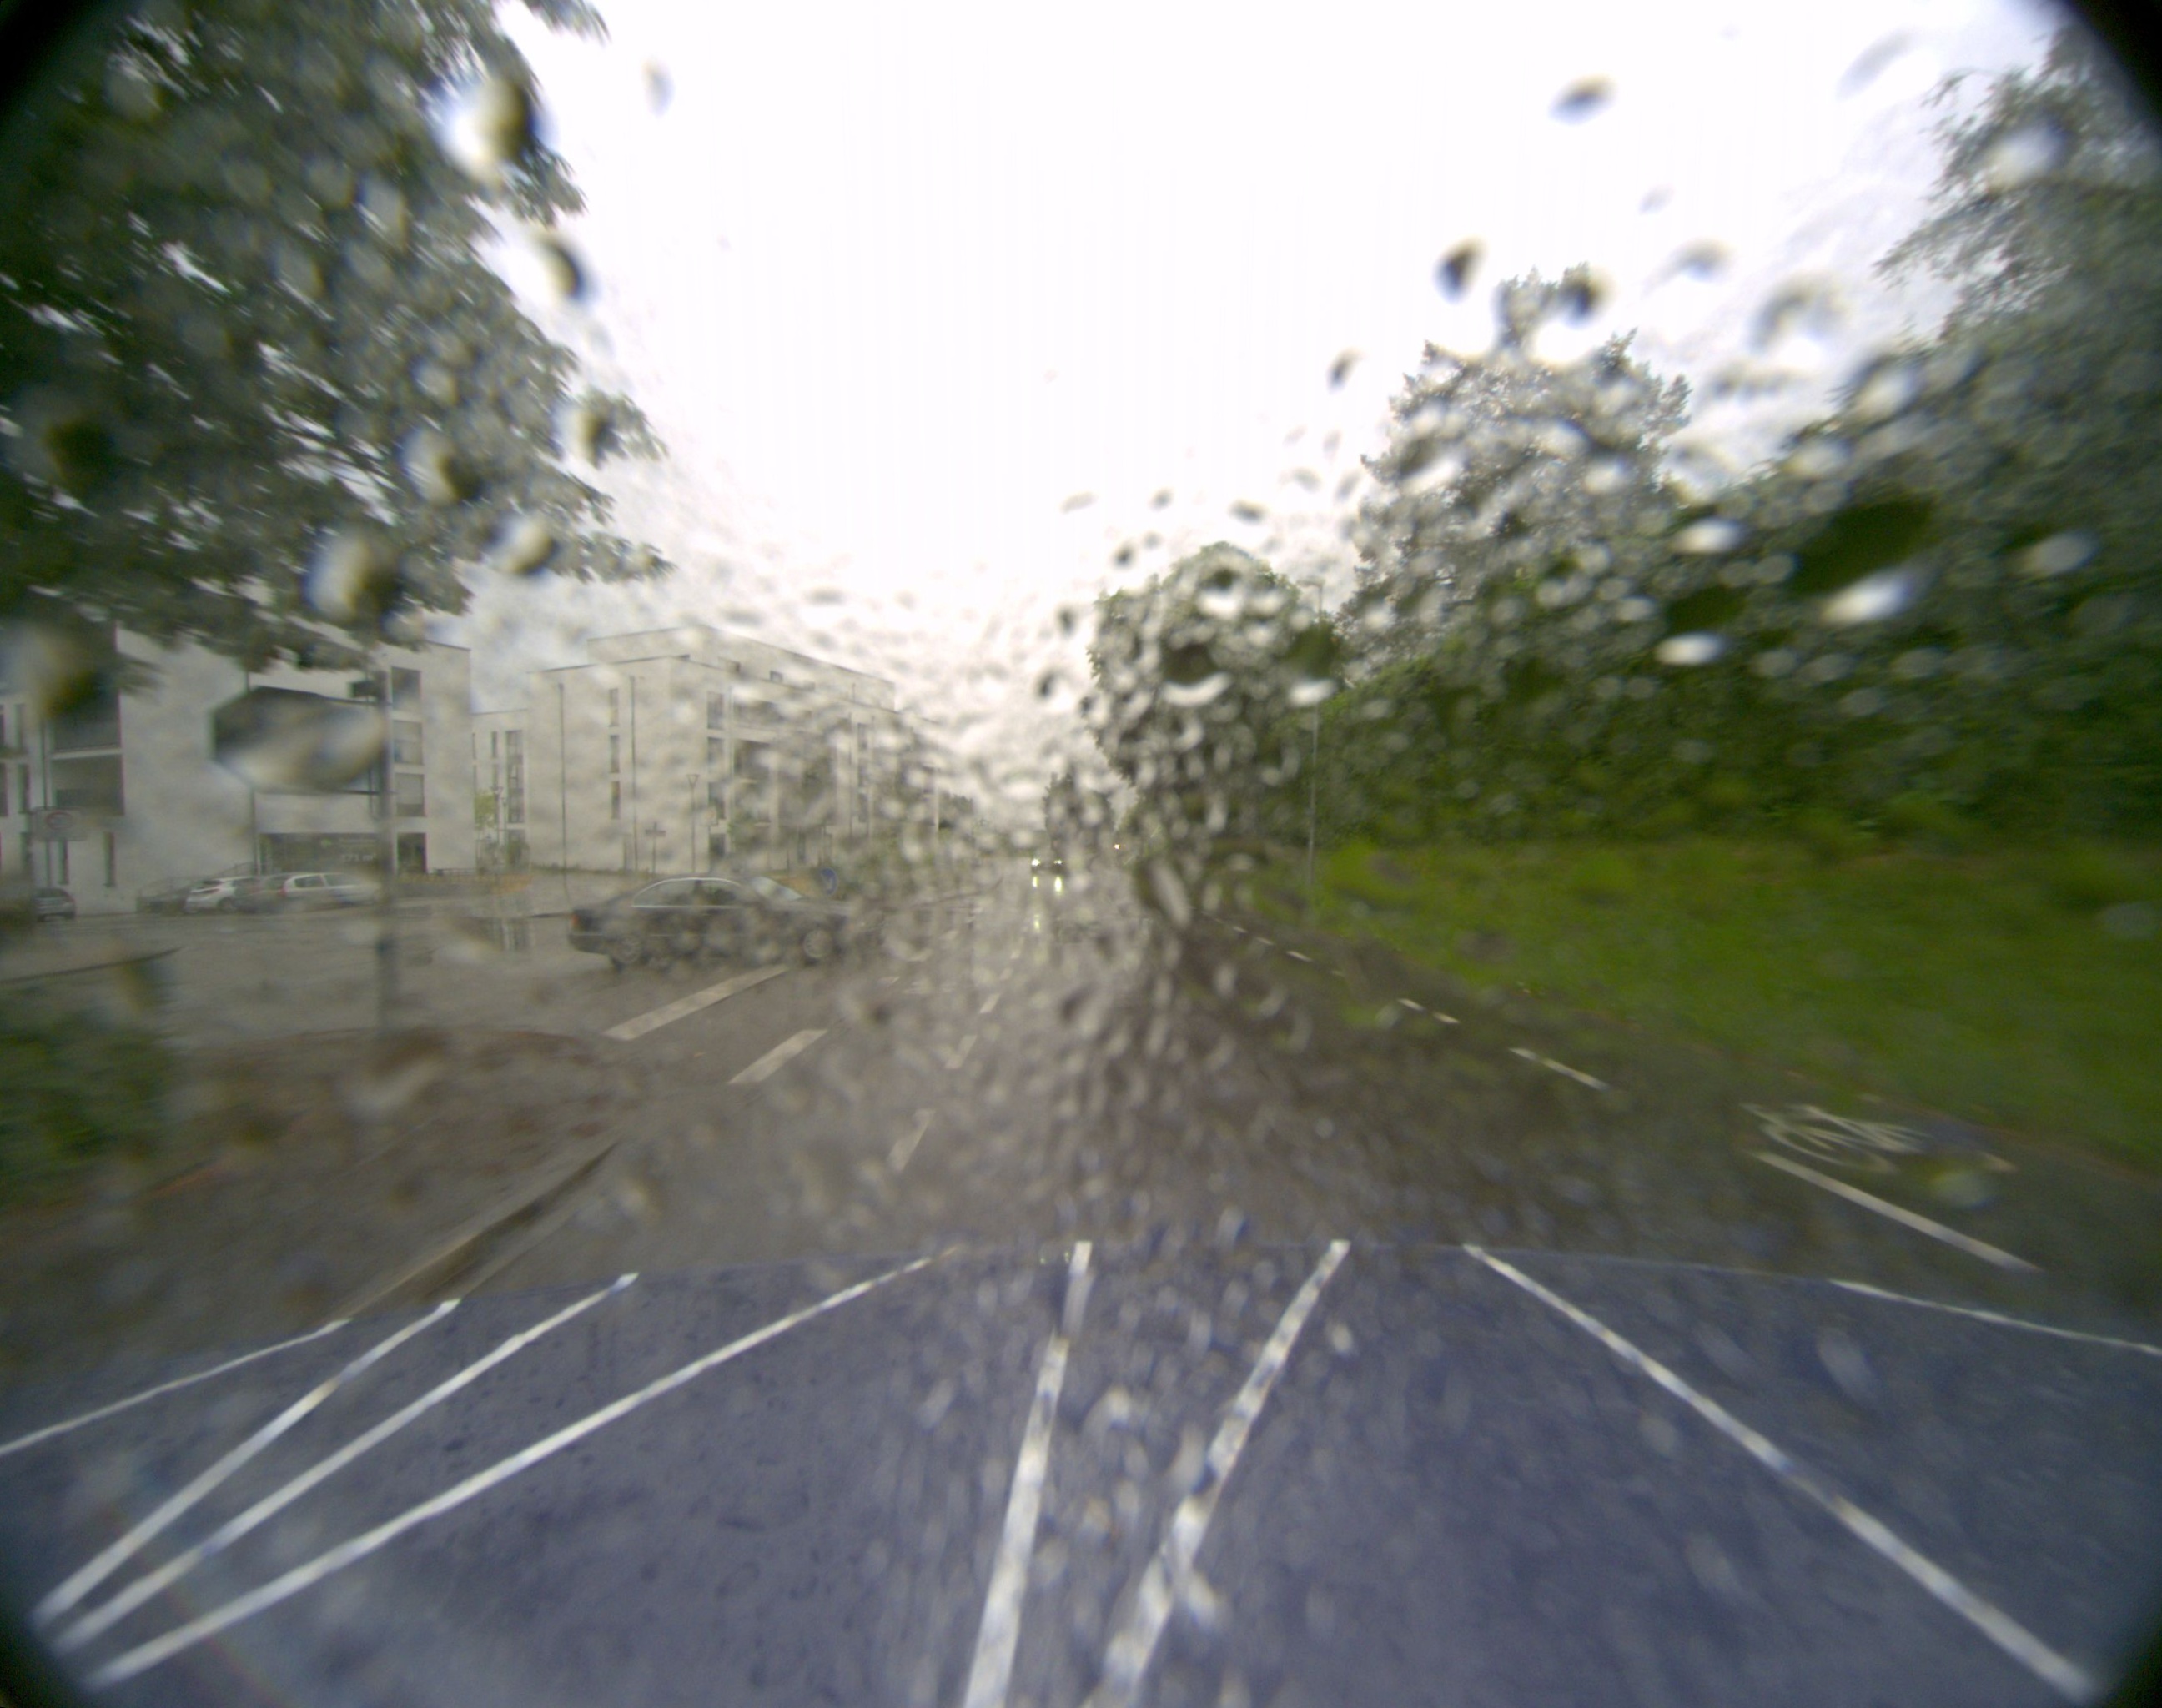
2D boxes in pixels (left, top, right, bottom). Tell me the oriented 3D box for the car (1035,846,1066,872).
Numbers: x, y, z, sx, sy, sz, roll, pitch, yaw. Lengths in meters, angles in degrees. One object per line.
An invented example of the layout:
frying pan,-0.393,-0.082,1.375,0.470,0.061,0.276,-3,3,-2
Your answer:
car,-2.016,0.290,49.256,1.800,1.543,3.997,-2,2,-5

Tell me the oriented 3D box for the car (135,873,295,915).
car,-36.334,1.623,32.025,1.756,1.414,4.004,-1,2,18

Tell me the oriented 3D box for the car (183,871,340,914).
car,-33.798,1.548,31.497,1.756,1.414,4.004,-1,2,18

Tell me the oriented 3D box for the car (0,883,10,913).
car,-52.084,2.102,35.397,3.579,1.369,1.619,-1,2,21

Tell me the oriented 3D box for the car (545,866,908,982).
car,-5.394,1.043,12.019,4.808,1.406,1.807,-3,2,1

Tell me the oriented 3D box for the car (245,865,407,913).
car,-29.203,1.313,29.553,1.756,1.414,4.003,-1,3,20

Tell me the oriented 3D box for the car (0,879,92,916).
car,-44.804,1.852,32.647,3.579,1.369,1.796,-1,2,21

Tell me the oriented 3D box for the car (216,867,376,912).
car,-31.559,1.387,30.700,1.820,1.414,4.003,-1,3,18
